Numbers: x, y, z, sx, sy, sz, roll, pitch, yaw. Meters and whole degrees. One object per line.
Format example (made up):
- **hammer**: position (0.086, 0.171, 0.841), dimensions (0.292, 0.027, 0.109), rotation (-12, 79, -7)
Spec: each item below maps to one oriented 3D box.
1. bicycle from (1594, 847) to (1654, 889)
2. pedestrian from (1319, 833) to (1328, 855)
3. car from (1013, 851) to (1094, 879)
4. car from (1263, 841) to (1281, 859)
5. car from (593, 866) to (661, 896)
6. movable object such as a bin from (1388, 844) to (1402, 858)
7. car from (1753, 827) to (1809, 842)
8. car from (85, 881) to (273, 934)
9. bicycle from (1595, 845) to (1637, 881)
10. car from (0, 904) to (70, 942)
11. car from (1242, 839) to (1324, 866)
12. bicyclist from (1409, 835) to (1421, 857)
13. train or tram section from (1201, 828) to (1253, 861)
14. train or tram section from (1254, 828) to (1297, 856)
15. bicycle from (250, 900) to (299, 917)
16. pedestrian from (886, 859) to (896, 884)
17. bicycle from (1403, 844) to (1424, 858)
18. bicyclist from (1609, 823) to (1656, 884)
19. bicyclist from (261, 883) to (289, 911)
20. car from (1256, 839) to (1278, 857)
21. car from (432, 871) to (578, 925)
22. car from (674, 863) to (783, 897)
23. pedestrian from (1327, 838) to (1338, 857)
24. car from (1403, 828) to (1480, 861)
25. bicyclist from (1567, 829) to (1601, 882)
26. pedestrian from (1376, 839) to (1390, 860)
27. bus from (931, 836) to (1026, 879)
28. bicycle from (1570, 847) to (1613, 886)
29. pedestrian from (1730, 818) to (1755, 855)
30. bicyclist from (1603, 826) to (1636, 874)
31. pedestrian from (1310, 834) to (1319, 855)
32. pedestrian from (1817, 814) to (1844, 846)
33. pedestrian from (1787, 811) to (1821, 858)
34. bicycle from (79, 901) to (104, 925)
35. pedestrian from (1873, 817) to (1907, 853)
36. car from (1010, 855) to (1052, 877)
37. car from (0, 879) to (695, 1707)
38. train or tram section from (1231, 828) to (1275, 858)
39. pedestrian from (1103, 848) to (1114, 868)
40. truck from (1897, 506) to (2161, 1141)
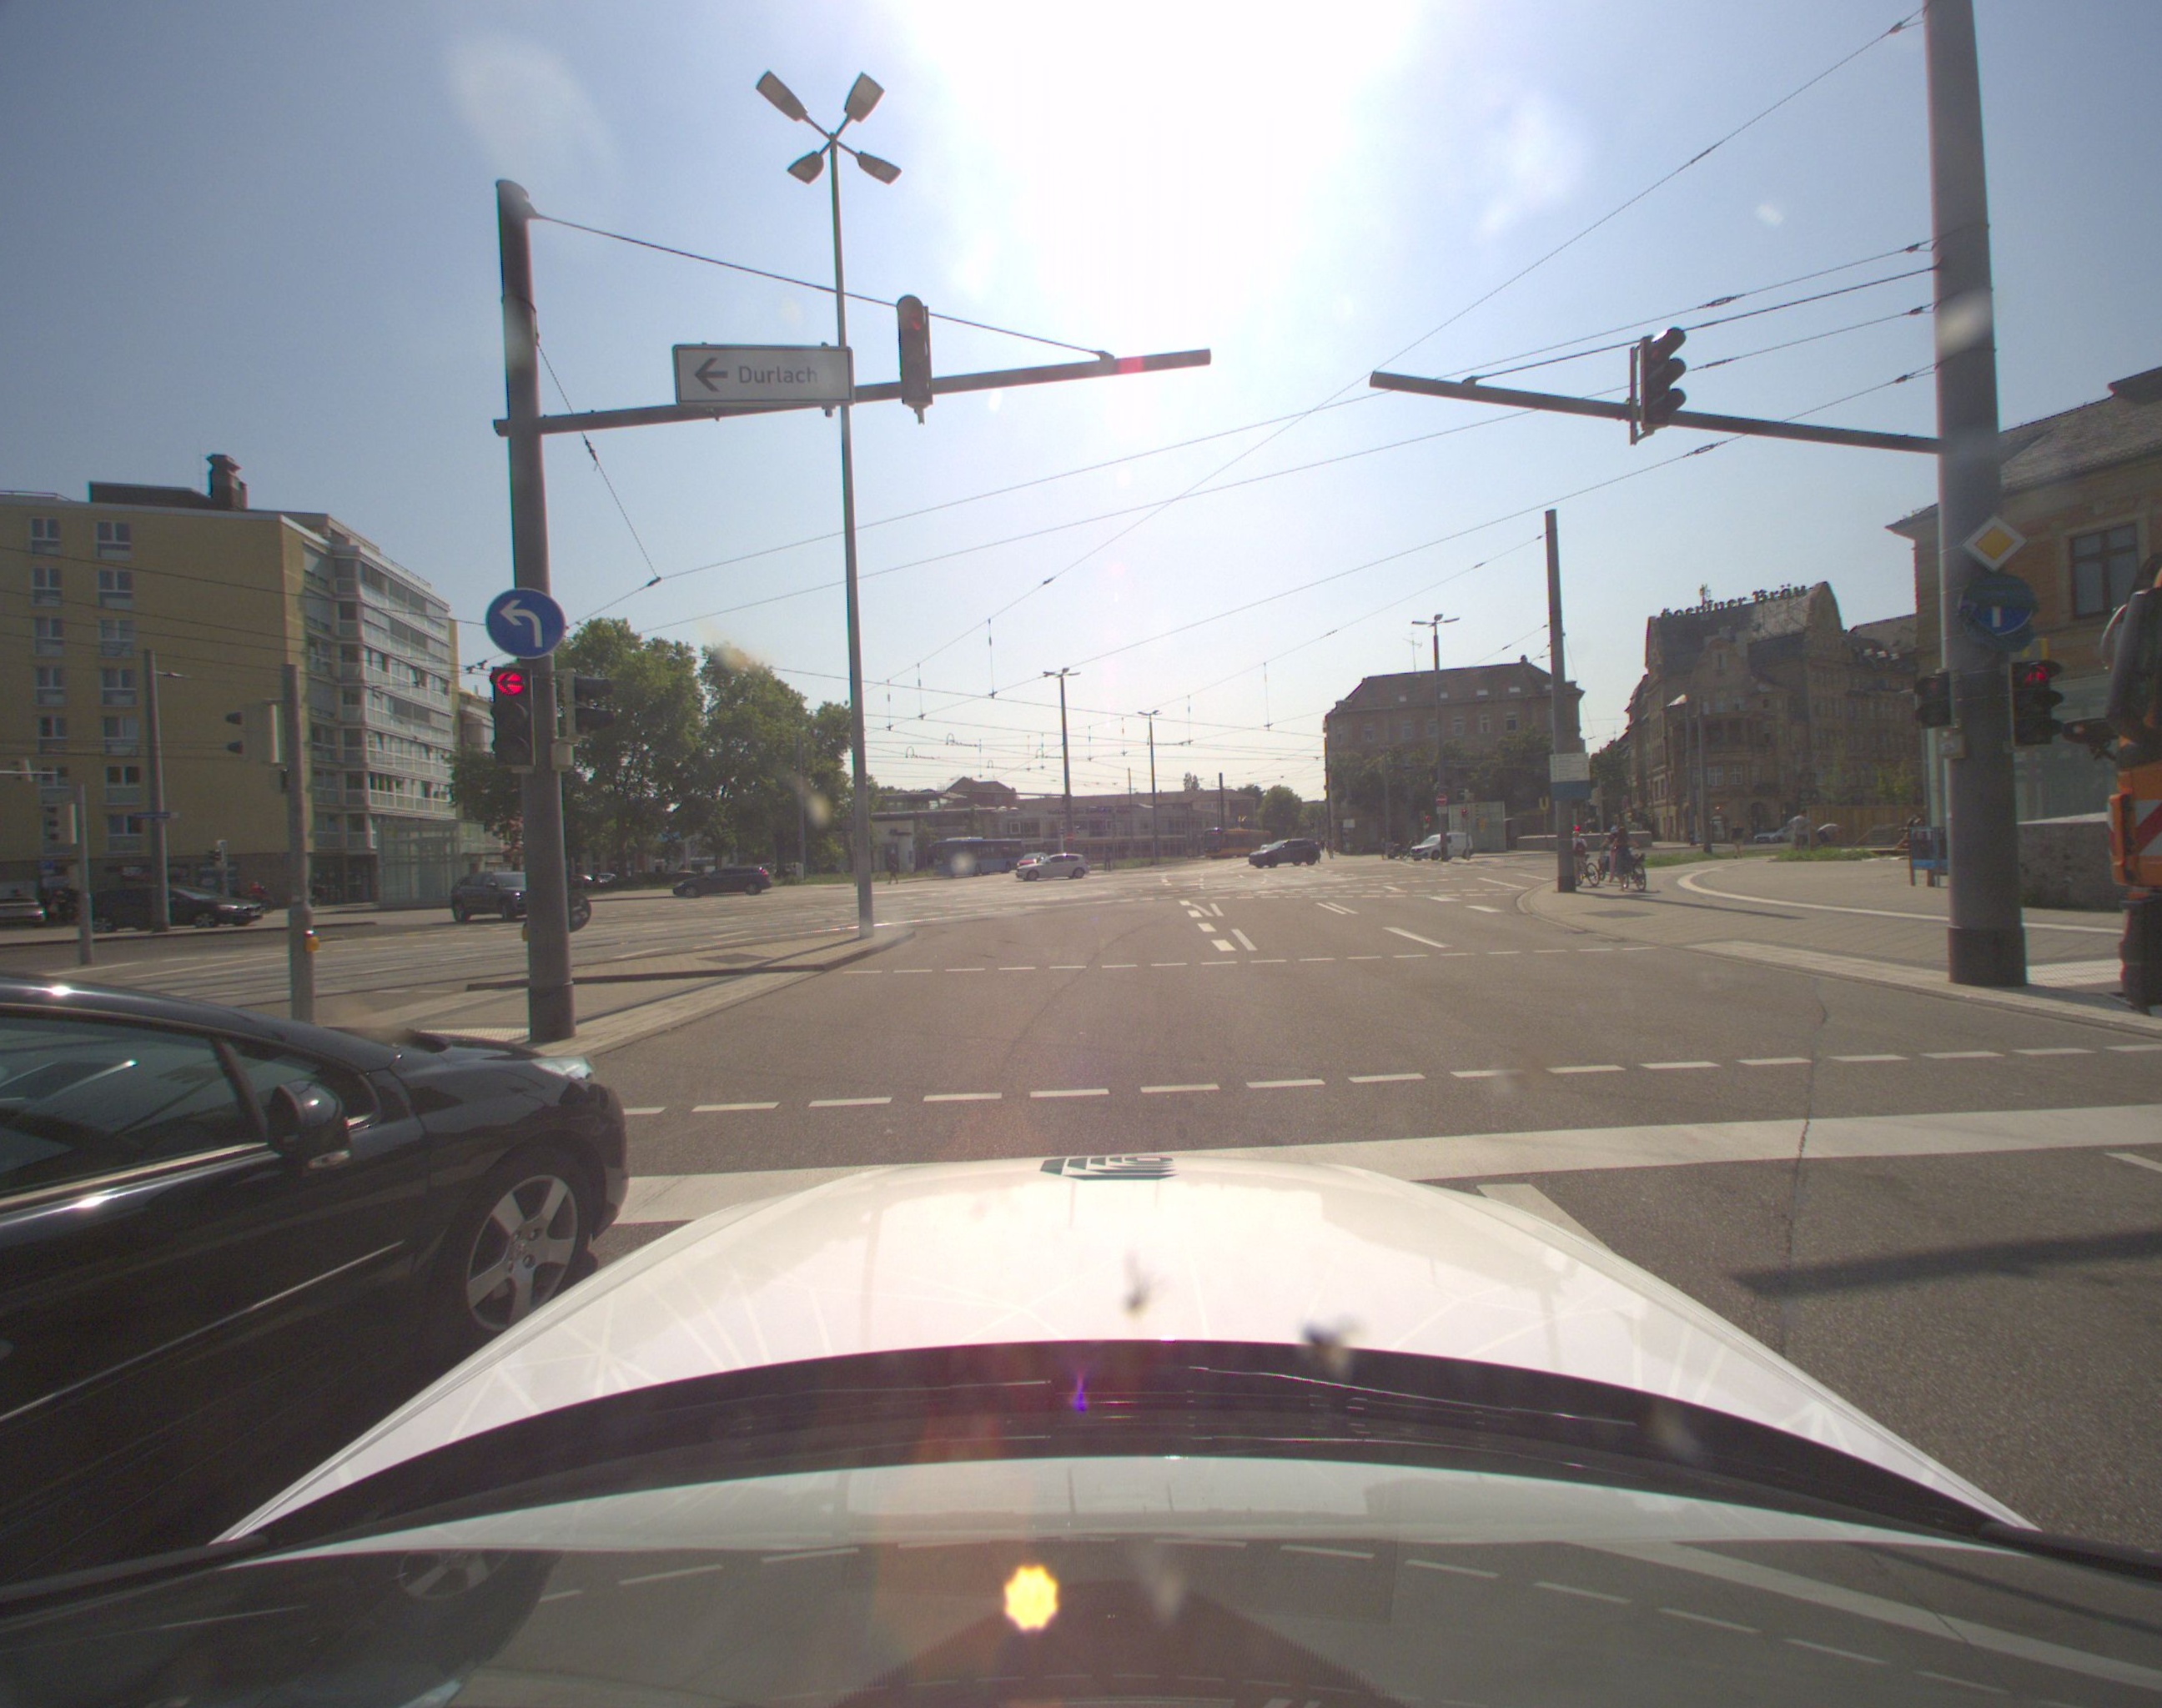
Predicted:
- **bicycle**: position (14.219, 0.350, 21.373), dimensions (0.489, 1.055, 1.826), rotation (-2, 0, 7)
- **pedestrian**: position (34.333, -1.382, 115.495), dimensions (0.978, 3.017, 0.977), rotation (-2, 0, 7)
- **car**: position (-1.562, 0.606, 45.970), dimensions (4.199, 1.415, 1.765), rotation (-2, 0, -18)
- **car**: position (18.892, -0.400, 80.543), dimensions (1.625, 1.618, 4.016), rotation (-2, 0, 14)
- **car**: position (-33.825, 1.999, 60.740), dimensions (3.994, 2.013, 1.921), rotation (-2, 0, -15)
- **movable object such as a bin**: position (23.843, -0.219, 61.820), dimensions (0.812, 1.077, 0.510), rotation (-2, 0, -9)
- **car**: position (60.519, -1.696, 70.450), dimensions (4.001, 1.090, 1.986), rotation (-2, 0, -21)
- **car**: position (-31.493, 1.829, 28.553), dimensions (4.194, 1.560, 1.734), rotation (-2, 0, -9)
- **bicycle**: position (16.395, 0.256, 25.001), dimensions (0.532, 1.055, 1.660), rotation (-2, 0, 14)
- **car**: position (-47.950, 3.116, 37.319), dimensions (3.948, 1.508, 1.759), rotation (-2, 0, 35)
- **car**: position (12.560, -0.079, 50.720), dimensions (4.624, 1.505, 1.987), rotation (-2, 0, -19)
- **bicyclist**: position (24.458, -0.574, 59.649), dimensions (0.614, 1.528, 0.517), rotation (-2, 0, -22)
- **train or tram section**: position (17.001, -1.181, 94.169), dimensions (2.564, 3.516, 10.965), rotation (-2, 0, 28)
- **train or tram section**: position (27.183, -1.661, 113.280), dimensions (2.564, 3.516, 13.051), rotation (-2, 0, 27)
- **bicycle**: position (-44.751, 2.998, 45.214), dimensions (1.860, 0.802, 0.604), rotation (-2, 0, -17)
- **pedestrian**: position (-13.092, 1.217, 56.122), dimensions (0.554, 1.684, 0.451), rotation (-2, 0, -17)
- **bicycle**: position (24.400, -0.213, 59.824), dimensions (0.470, 1.055, 1.643), rotation (-2, 0, -18)
- **bicyclist**: position (14.147, -0.003, 20.918), dimensions (0.730, 1.517, 0.665), rotation (-2, 0, 6)
- **bicyclist**: position (-44.764, 2.372, 45.234), dimensions (0.873, 1.475, 0.543), rotation (-2, 0, -16)
- **car**: position (16.208, -0.519, 70.794), dimensions (1.758, 1.415, 4.204), rotation (-2, 0, 13)
- **car**: position (-19.331, 1.474, 27.322), dimensions (4.489, 1.600, 1.781), rotation (-2, 0, 22)
- **car**: position (-17.542, 1.263, 40.781), dimensions (4.766, 1.415, 1.765), rotation (-2, 0, -18)
- **pedestrian**: position (21.299, -0.552, 69.054), dimensions (0.699, 1.603, 0.572), rotation (-2, 0, -6)
- **car**: position (24.140, -0.622, 54.572), dimensions (4.628, 2.013, 1.986), rotation (-2, 0, -21)
- **bicyclist**: position (14.653, 0.037, 23.732), dimensions (0.623, 1.517, 0.715), rotation (-2, 0, 14)
- **pedestrian**: position (23.036, -0.351, 62.149), dimensions (0.849, 1.545, 0.527), rotation (-2, 0, -6)
- **bus**: position (-8.118, 0.208, 66.977), dimensions (2.541, 3.082, 12.082), rotation (-3, 0, 19)
- **bicycle**: position (14.624, 0.352, 23.368), dimensions (0.532, 1.055, 1.660), rotation (-2, 0, 14)
- **pedestrian**: position (28.975, -0.766, 35.668), dimensions (0.794, 1.575, 0.729), rotation (-2, 0, -44)
- **bicyclist**: position (16.274, -0.128, 24.637), dimensions (0.526, 1.393, 0.897), rotation (-2, 0, 14)
- **pedestrian**: position (33.274, -1.374, 115.885), dimensions (0.978, 3.017, 0.977), rotation (-2, 0, 7)
- **pedestrian**: position (29.405, -0.955, 31.958), dimensions (0.658, 1.214, 0.531), rotation (-2, 0, 30)
- **pedestrian**: position (27.159, -0.717, 30.586), dimensions (0.549, 1.724, 0.812), rotation (-2, 0, -39)
- **bicycle**: position (-53.233, 3.139, 43.803), dimensions (2.754, 1.204, 0.699), rotation (-3, 0, 36)
- **pedestrian**: position (31.875, -0.743, 32.104), dimensions (0.768, 1.399, 0.687), rotation (-2, 0, -23)
- **car**: position (-3.832, 0.942, 63.592), dimensions (1.735, 1.552, 4.020), rotation (-3, 0, 20)
- **car**: position (-2.660, 0.814, 1.563), dimensions (1.757, 1.388, 3.787), rotation (-1, 0, 5)
- **train or tram section**: position (21.903, -1.403, 103.239), dimensions (2.564, 3.516, 9.718), rotation (-2, 0, 28)
- **pedestrian**: position (1.996, 0.282, 58.829), dimensions (0.678, 1.443, 0.364), rotation (-2, 0, -15)
- **truck**: position (6.416, -0.183, 1.839), dimensions (2.481, 3.134, 6.869), rotation (-3, 0, 4)
